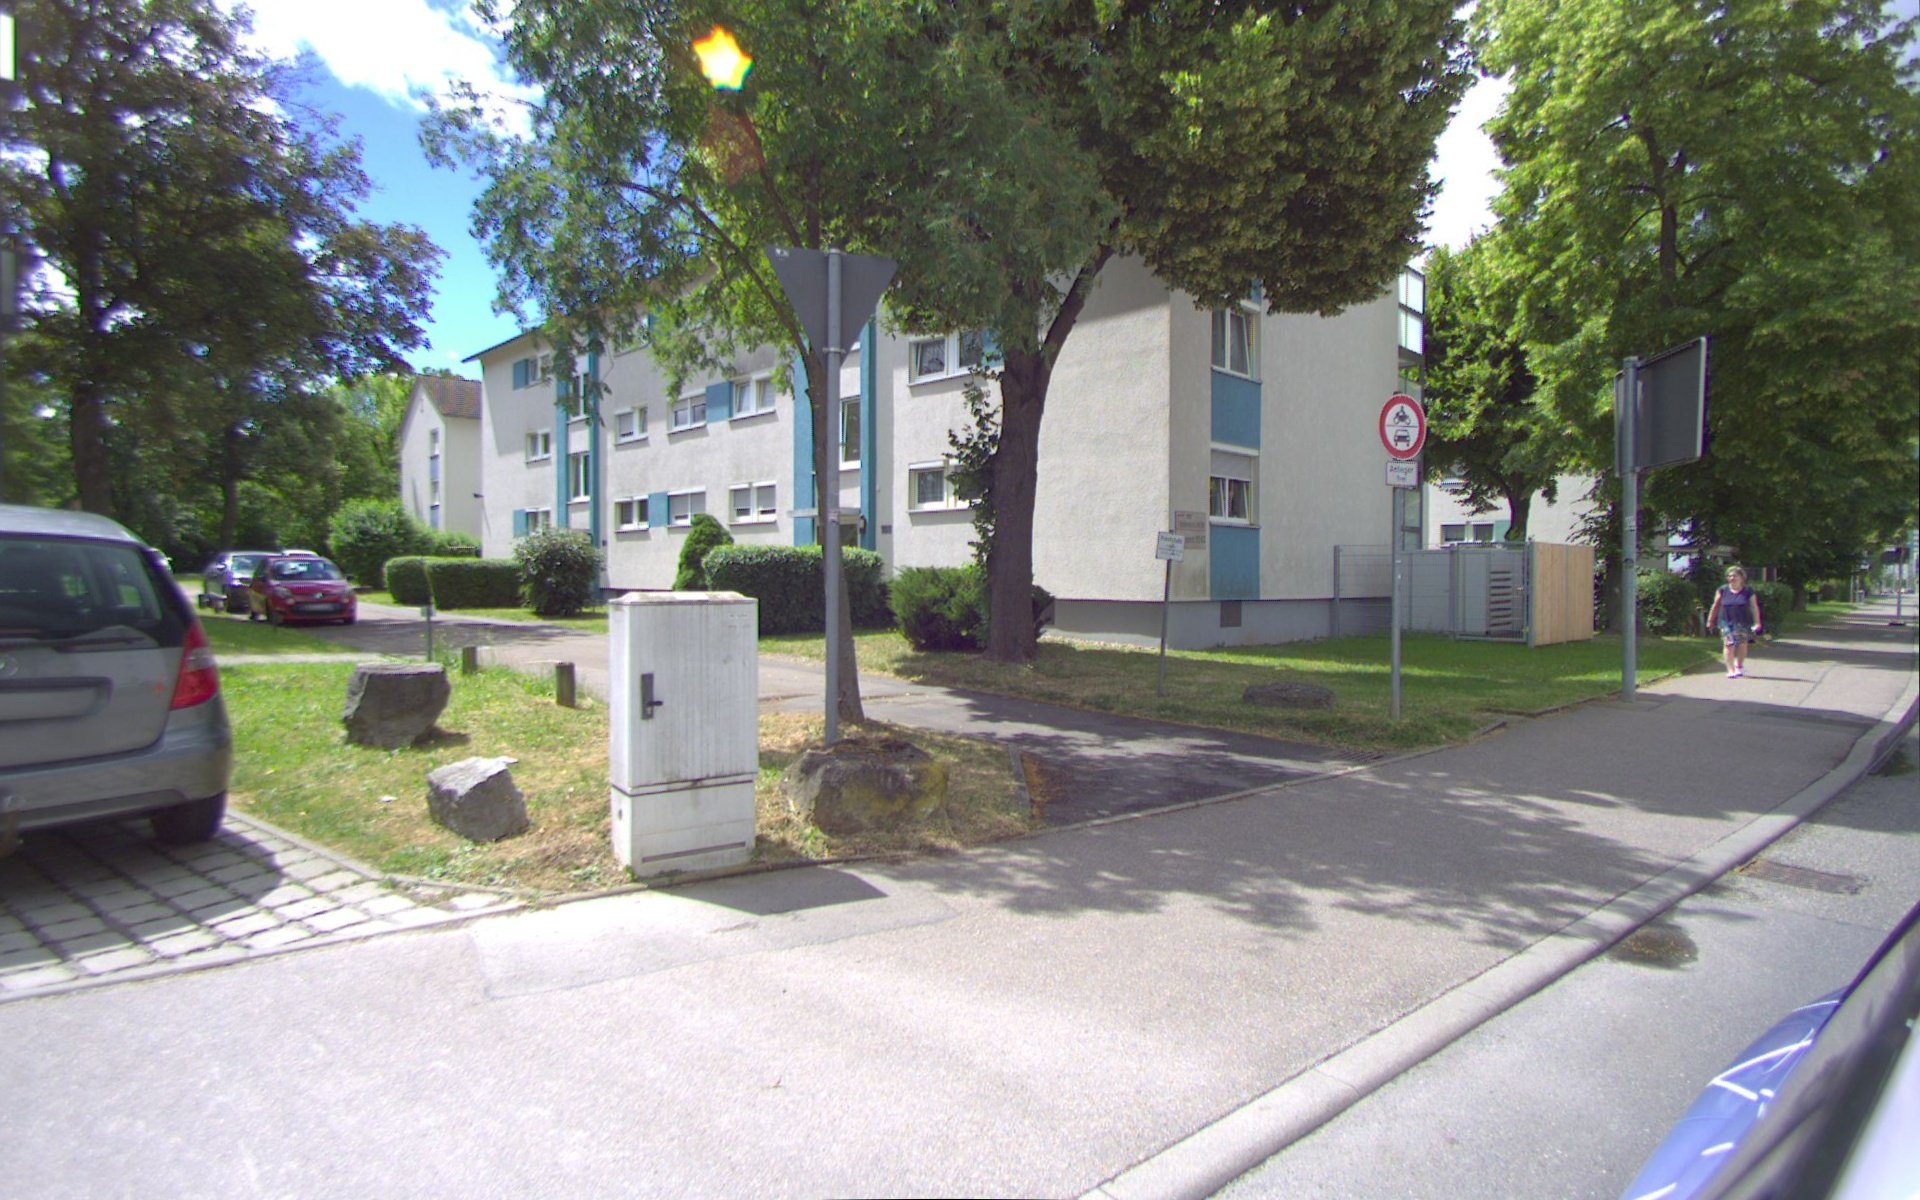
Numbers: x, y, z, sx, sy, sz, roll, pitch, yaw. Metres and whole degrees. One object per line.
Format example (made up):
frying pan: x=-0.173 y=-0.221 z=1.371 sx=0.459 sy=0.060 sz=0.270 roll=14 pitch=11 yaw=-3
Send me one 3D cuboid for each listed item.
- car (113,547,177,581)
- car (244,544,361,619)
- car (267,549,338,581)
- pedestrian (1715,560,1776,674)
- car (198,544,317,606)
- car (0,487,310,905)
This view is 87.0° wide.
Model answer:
car: x=-34.753 y=-1.513 z=43.126 sx=1.965 sy=1.329 sz=3.993 roll=-1 pitch=1 yaw=-41
car: x=-14.702 y=-0.381 z=22.548 sx=1.700 sy=1.521 sz=3.876 roll=-1 pitch=1 yaw=-40
car: x=-30.663 y=-1.600 z=47.156 sx=3.987 sy=1.329 sz=1.968 roll=0 pitch=1 yaw=44
pedestrian: x=12.024 y=0.231 z=15.494 sx=0.681 sy=1.681 sz=0.820 roll=2 pitch=2 yaw=39
car: x=-18.573 y=-0.680 z=26.680 sx=3.989 sy=1.522 sz=1.888 roll=3 pitch=2 yaw=45
car: x=-5.045 y=0.243 z=4.960 sx=3.722 sy=1.575 sz=2.004 roll=5 pitch=3 yaw=38
